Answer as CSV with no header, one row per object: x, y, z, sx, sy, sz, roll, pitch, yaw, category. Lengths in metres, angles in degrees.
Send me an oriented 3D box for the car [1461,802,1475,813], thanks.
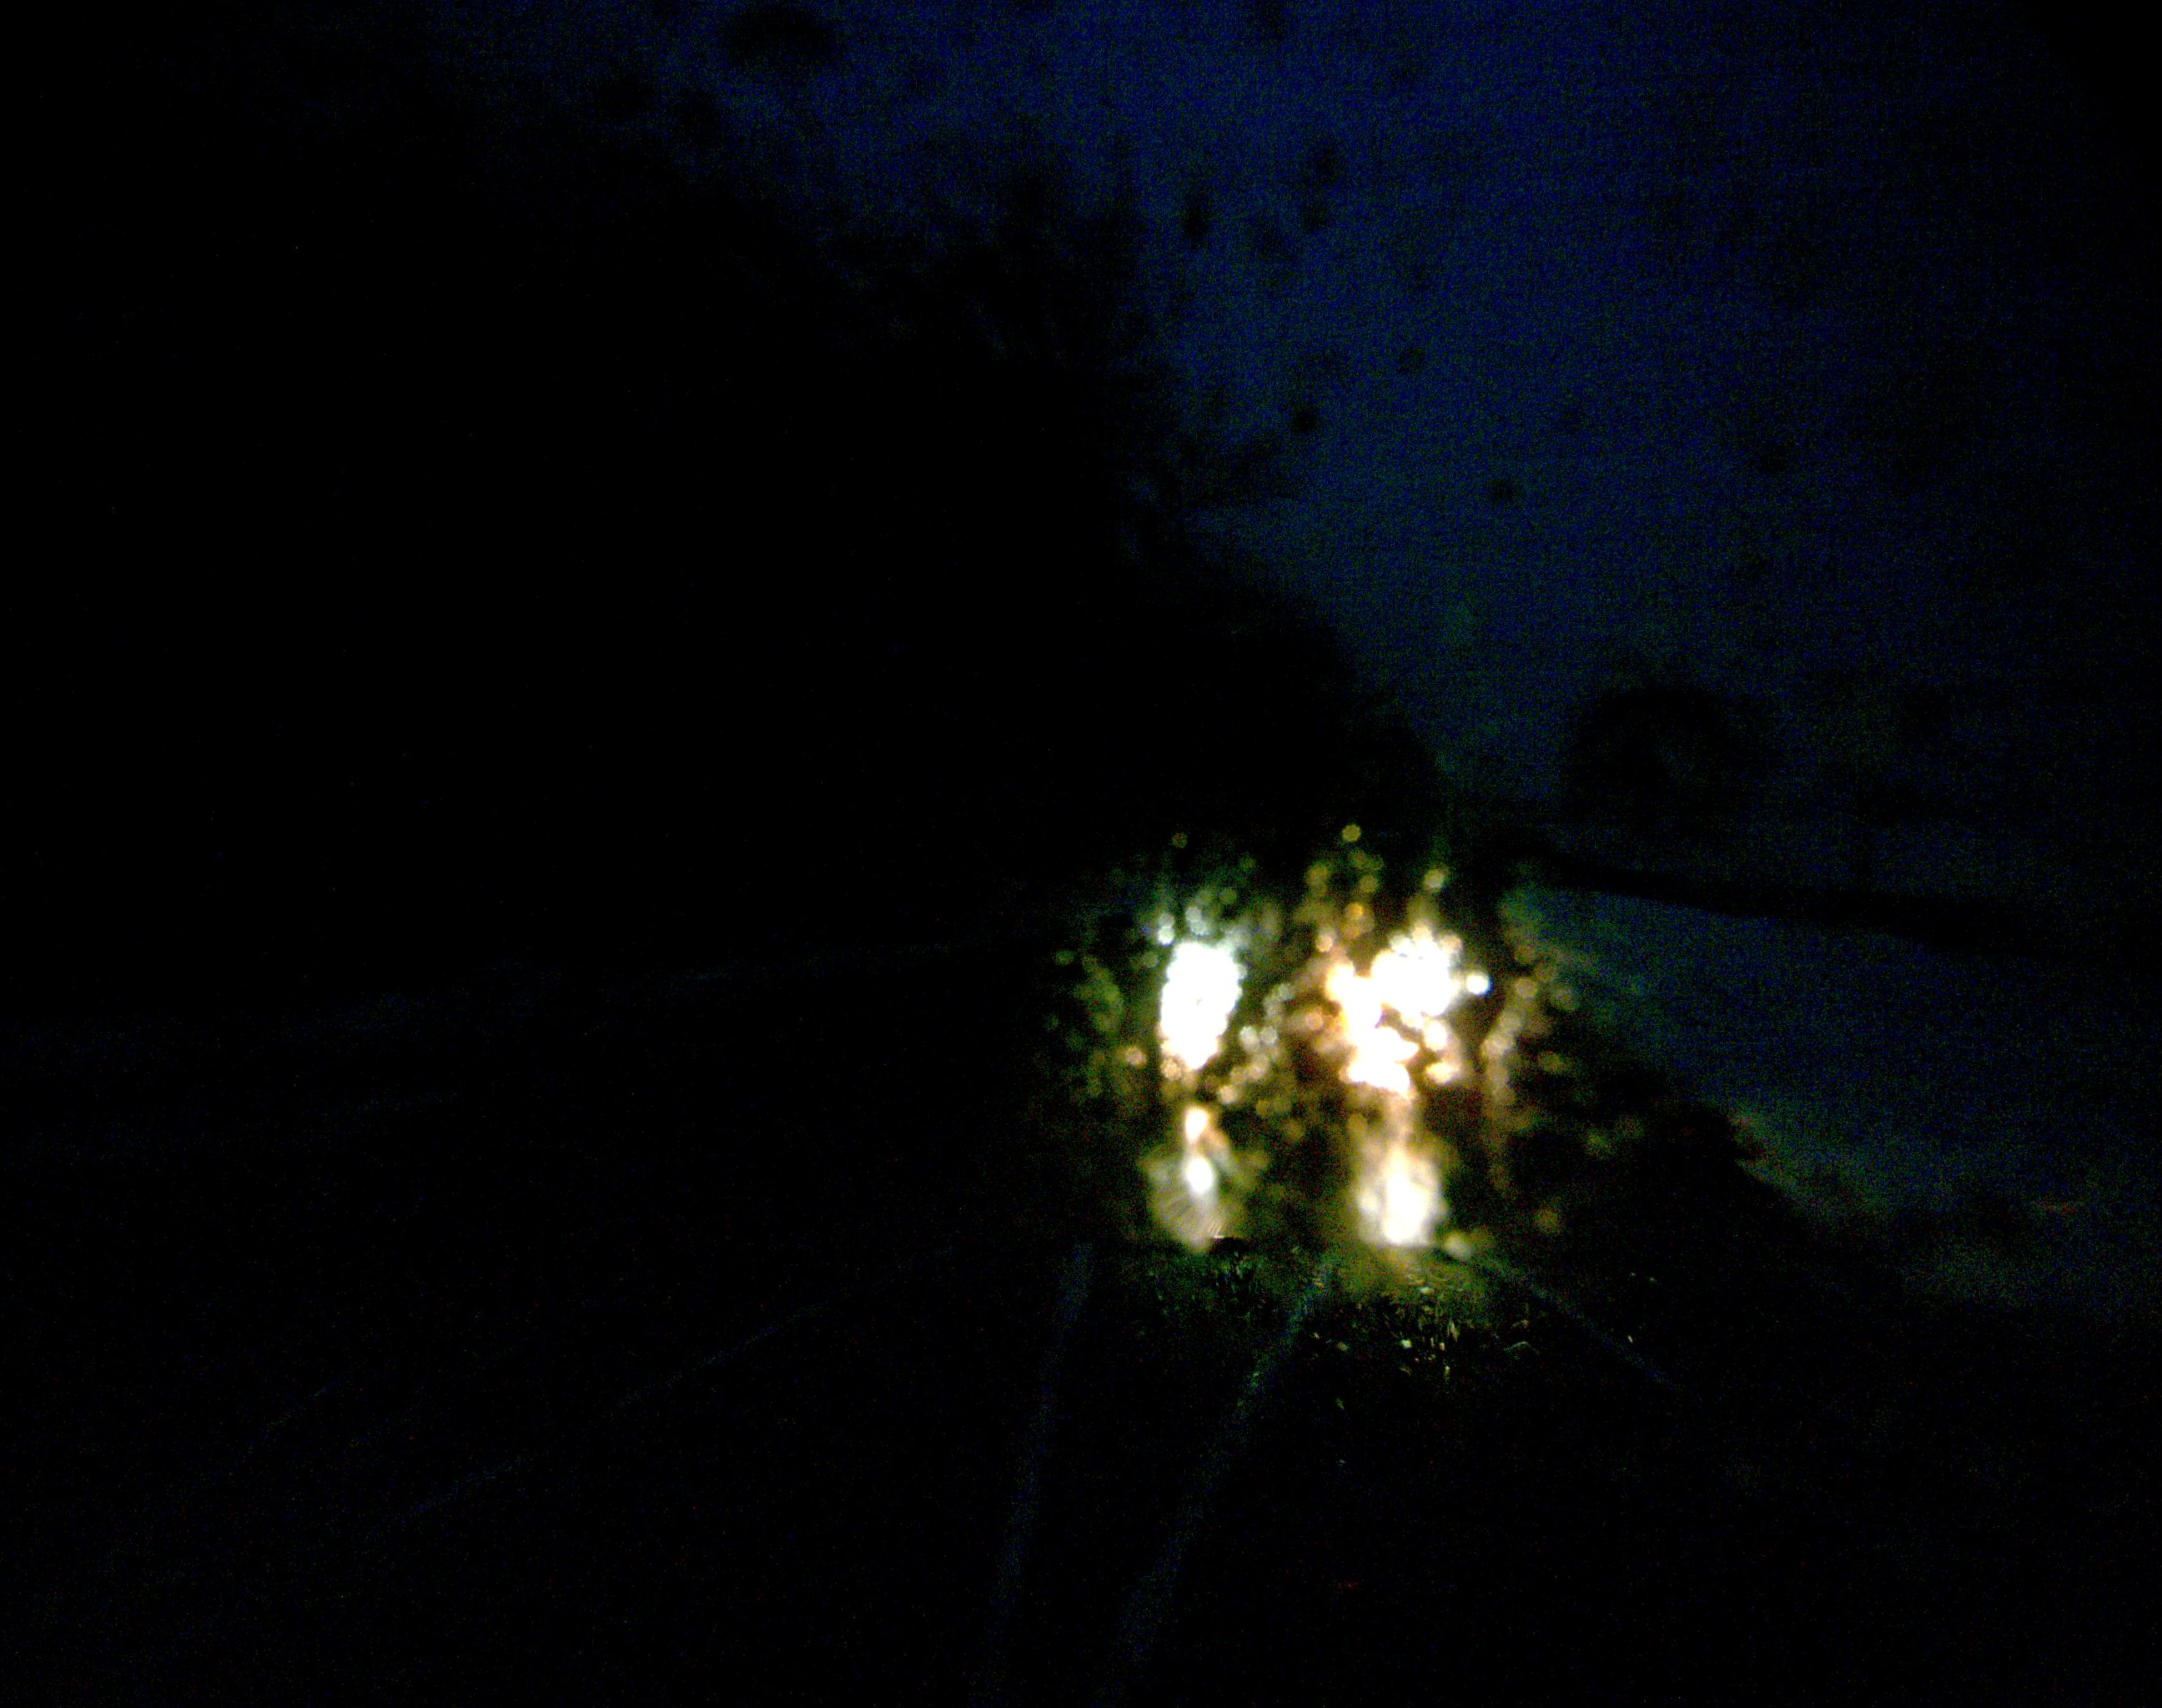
67.033,-7.992,131.589,1.995,1.797,4.006,-1,2,26,car

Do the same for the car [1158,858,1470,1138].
1.945,0.828,6.200,1.722,1.426,3.681,-2,1,20,car
